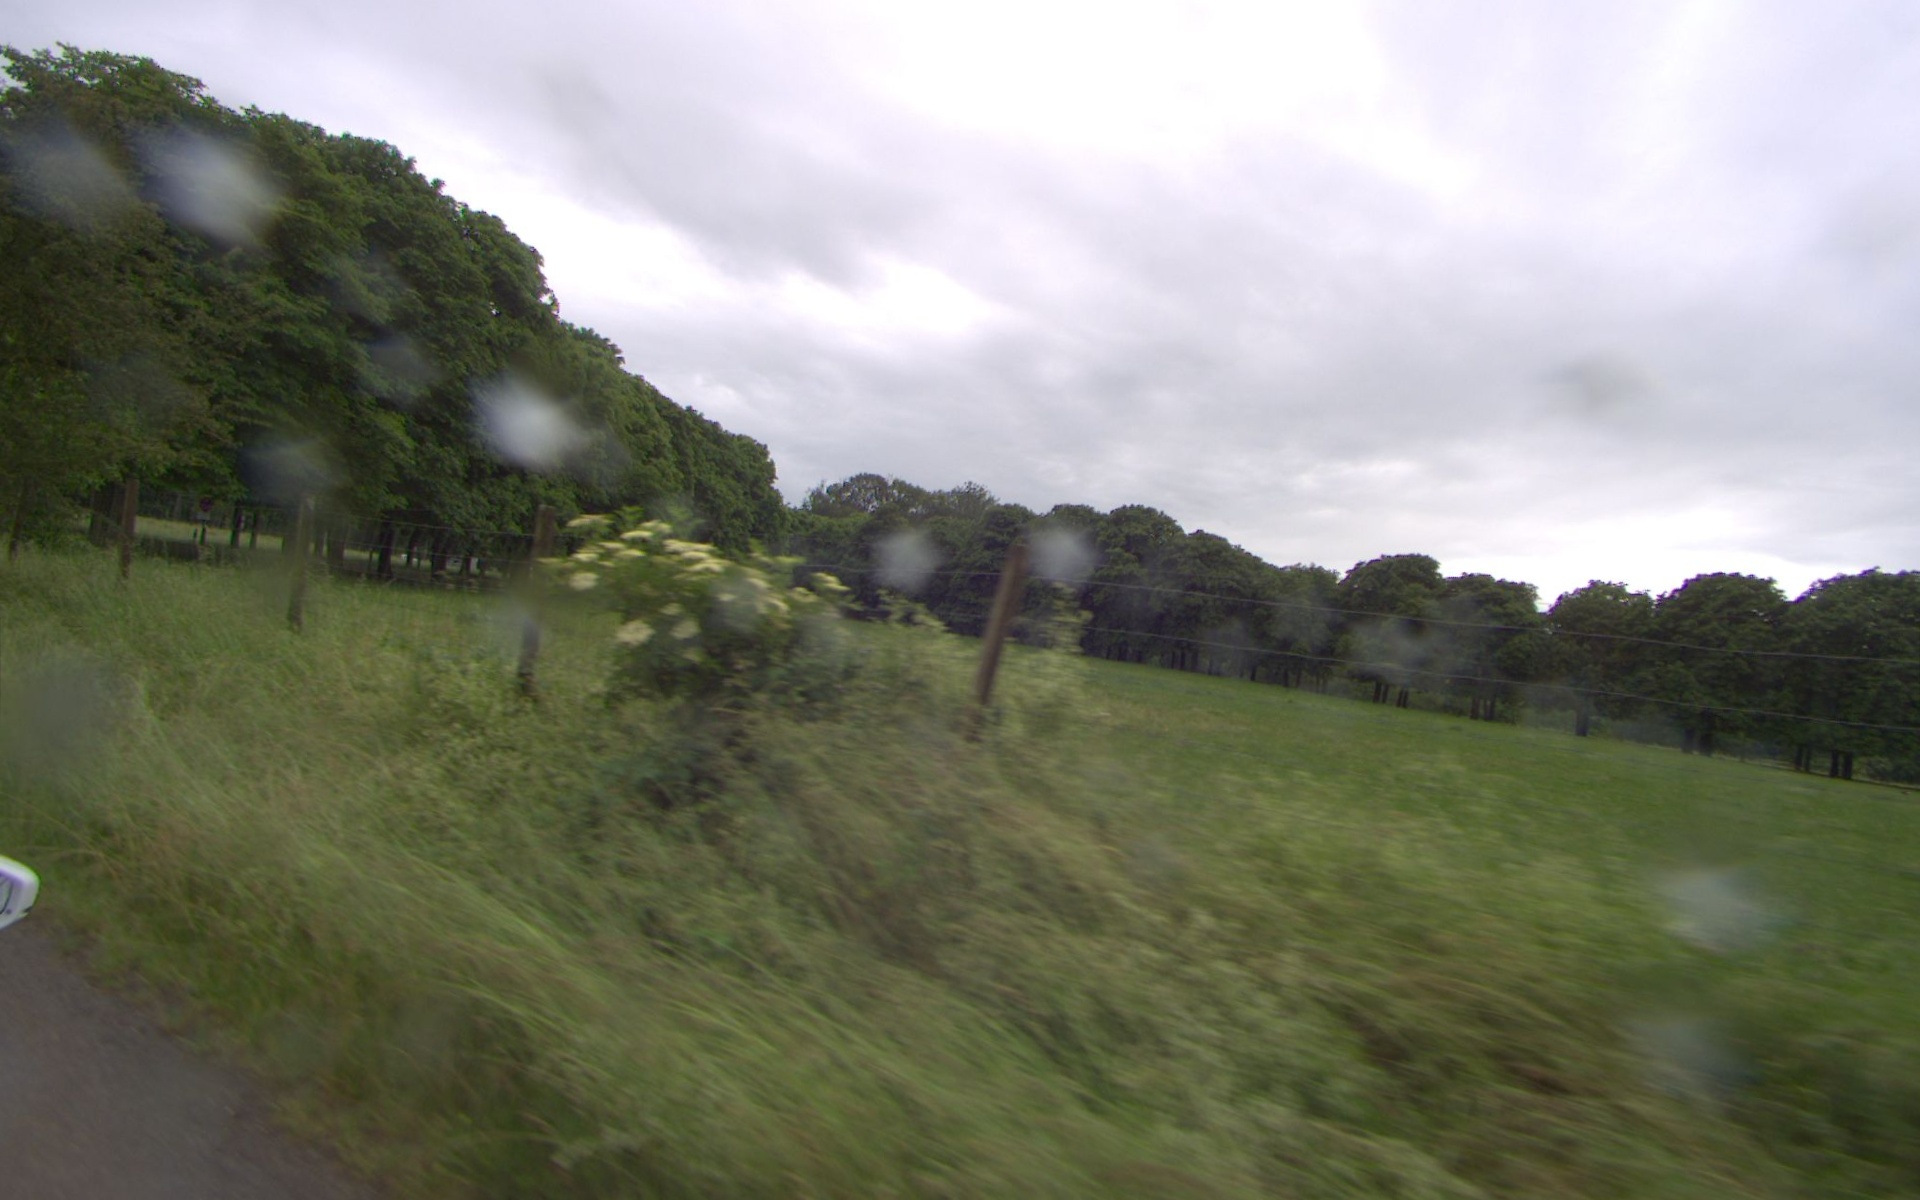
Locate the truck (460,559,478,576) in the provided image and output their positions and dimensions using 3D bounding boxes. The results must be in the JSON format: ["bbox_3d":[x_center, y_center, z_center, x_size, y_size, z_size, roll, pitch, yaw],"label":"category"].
[{"bbox_3d":[-80.253,-5.296,164.489,1.848,2.470,3.339,8,-2,-17],"label":"truck"}]
